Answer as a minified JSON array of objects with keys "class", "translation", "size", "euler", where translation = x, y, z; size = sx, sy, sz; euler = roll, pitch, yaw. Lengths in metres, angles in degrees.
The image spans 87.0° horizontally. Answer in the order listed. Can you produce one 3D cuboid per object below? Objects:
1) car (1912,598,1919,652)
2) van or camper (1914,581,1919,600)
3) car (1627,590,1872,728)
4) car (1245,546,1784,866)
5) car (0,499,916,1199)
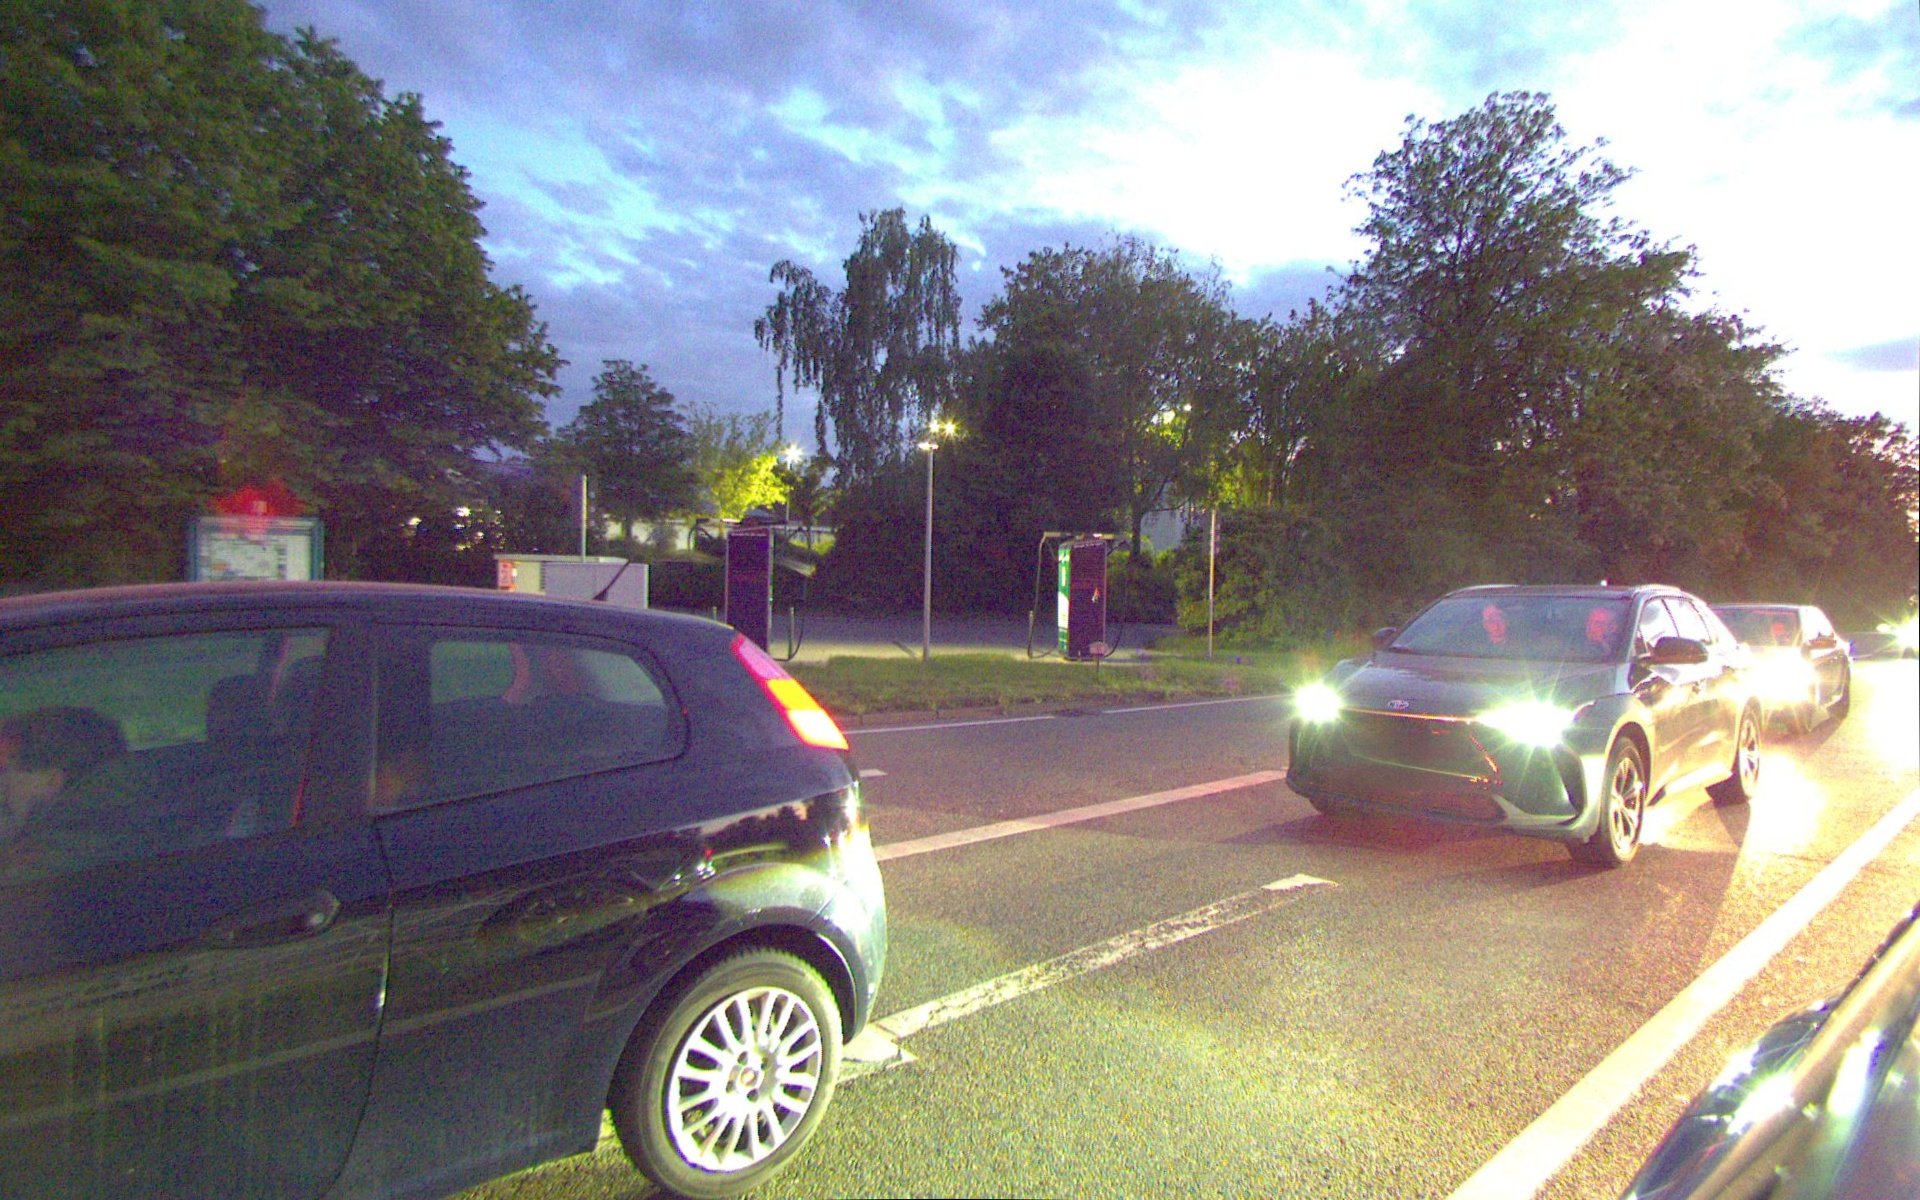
[{"class":"car","translation":[26.842,0.636,26.924],"size":[3.930,1.385,1.817],"euler":[-1,0,-41]},{"class":"van or camper","translation":[163.255,-1.385,167.231],"size":[3.897,3.163,9.894],"euler":[2,2,16]},{"class":"car","translation":[9.760,0.631,12.421],"size":[3.688,1.431,1.621],"euler":[1,1,-40]},{"class":"car","translation":[4.048,0.553,7.095],"size":[4.223,1.577,1.901],"euler":[1,-1,-40]},{"class":"car","translation":[-2.042,0.610,2.185],"size":[3.649,1.556,1.662],"euler":[0,1,-40]}]
